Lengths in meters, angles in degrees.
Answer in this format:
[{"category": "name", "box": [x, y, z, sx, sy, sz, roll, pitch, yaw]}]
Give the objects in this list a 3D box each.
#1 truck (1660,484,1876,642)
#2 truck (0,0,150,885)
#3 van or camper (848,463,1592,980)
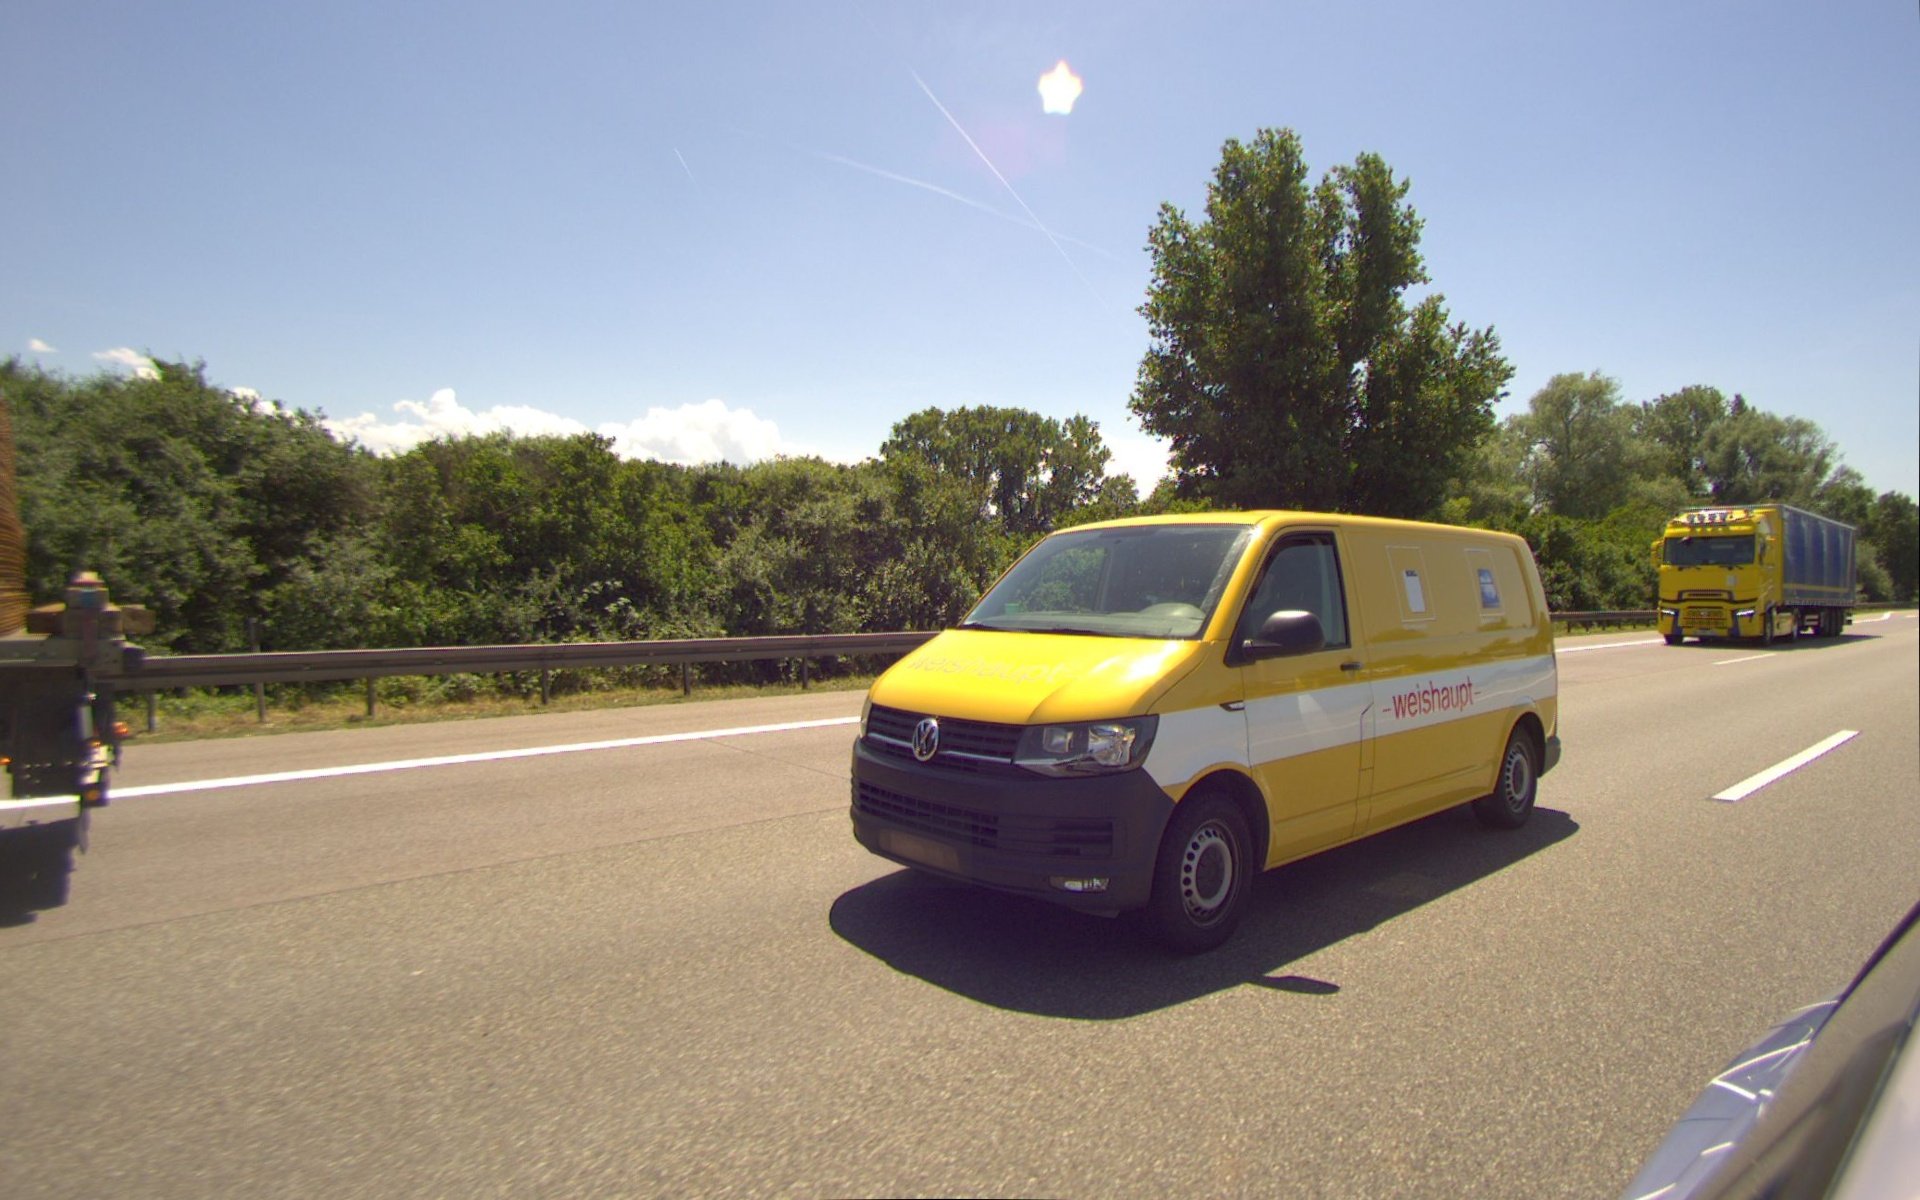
[{"category": "truck", "box": [27.737, -1.199, 34.168, 16.502, 4.310, 2.850, -1, 2, -41]}, {"category": "truck", "box": [-11.033, -0.586, 0.628, 16.326, 4.006, 2.974, -1, 1, -41]}, {"category": "van or camper", "box": [1.893, 0.429, 6.158, 4.885, 1.933, 1.997, -1, 0, -41]}]
